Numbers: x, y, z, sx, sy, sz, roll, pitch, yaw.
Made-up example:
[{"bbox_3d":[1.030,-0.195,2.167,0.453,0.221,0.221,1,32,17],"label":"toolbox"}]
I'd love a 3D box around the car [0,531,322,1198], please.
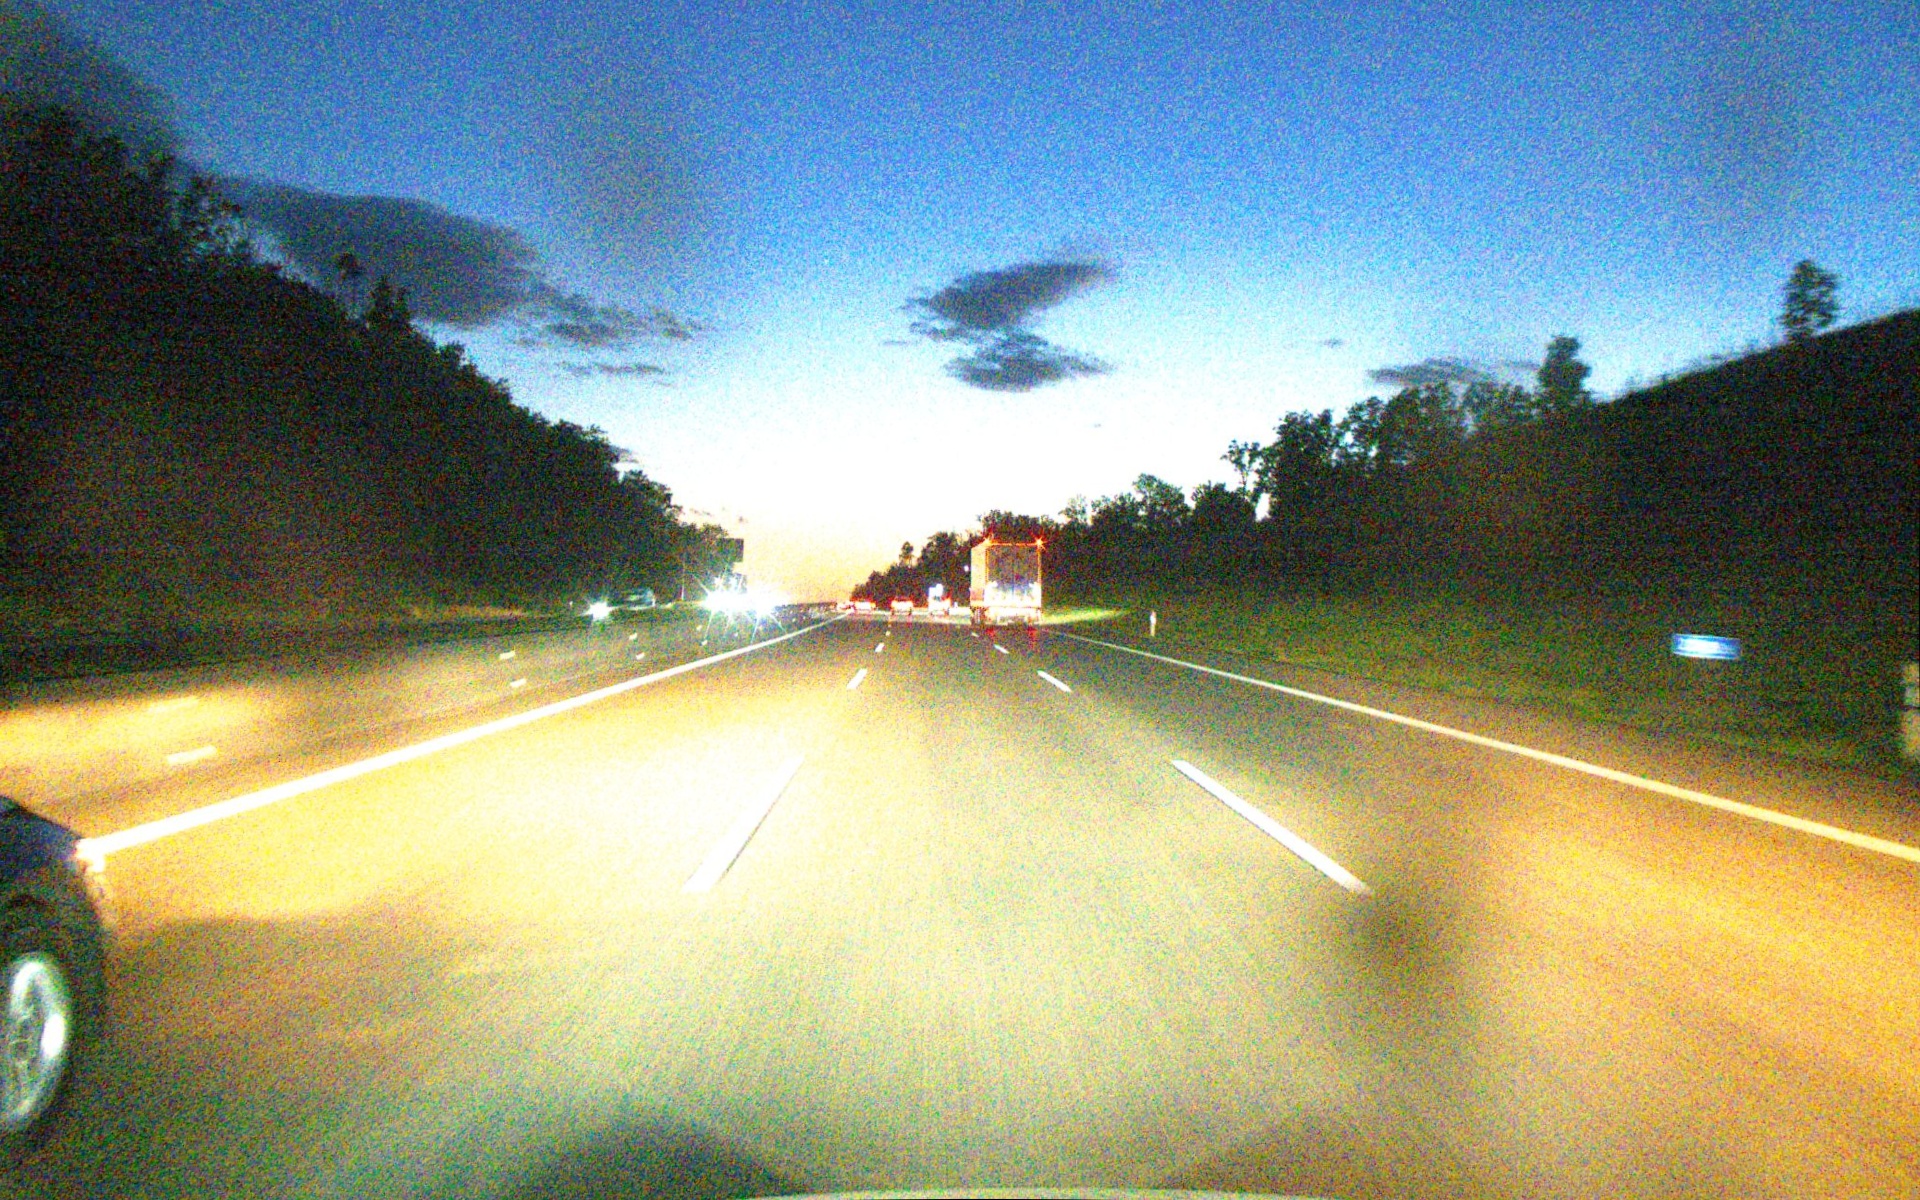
[{"bbox_3d":[-3.187,0.622,2.882,1.953,1.545,5.651,1,2,0],"label":"car"}]

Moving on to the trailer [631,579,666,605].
[{"bbox_3d":[-22.217,-0.558,117.969,1.858,1.777,3.843,1,0,-2],"label":"trailer"}]

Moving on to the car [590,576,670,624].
[{"bbox_3d":[-12.631,-0.030,63.561,2.199,1.749,4.886,1,0,-2],"label":"car"}]

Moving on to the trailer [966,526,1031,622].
[{"bbox_3d":[1.781,-1.217,83.441,2.771,4.331,17.048,1,0,0],"label":"trailer"}]

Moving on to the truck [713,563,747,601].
[{"bbox_3d":[-26.055,-2.003,187.634,2.803,4.143,10.629,1,0,-3],"label":"truck"}]

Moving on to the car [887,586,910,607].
[{"bbox_3d":[-5.494,-0.285,147.290,1.953,1.825,3.998,1,-1,-3],"label":"car"}]

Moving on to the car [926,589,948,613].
[{"bbox_3d":[-2.249,0.123,158.284,1.954,2.154,3.997,1,-1,-3],"label":"car"}]

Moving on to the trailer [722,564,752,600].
[{"bbox_3d":[-26.566,-2.087,197.371,2.803,4.143,8.866,1,0,-3],"label":"trailer"}]

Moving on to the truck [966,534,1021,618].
[{"bbox_3d":[1.765,-1.235,88.902,2.771,4.331,6.262,1,0,0],"label":"truck"}]

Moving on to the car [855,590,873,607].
[{"bbox_3d":[-10.570,-0.160,183.018,1.954,1.825,3.997,1,-1,-3],"label":"car"}]
